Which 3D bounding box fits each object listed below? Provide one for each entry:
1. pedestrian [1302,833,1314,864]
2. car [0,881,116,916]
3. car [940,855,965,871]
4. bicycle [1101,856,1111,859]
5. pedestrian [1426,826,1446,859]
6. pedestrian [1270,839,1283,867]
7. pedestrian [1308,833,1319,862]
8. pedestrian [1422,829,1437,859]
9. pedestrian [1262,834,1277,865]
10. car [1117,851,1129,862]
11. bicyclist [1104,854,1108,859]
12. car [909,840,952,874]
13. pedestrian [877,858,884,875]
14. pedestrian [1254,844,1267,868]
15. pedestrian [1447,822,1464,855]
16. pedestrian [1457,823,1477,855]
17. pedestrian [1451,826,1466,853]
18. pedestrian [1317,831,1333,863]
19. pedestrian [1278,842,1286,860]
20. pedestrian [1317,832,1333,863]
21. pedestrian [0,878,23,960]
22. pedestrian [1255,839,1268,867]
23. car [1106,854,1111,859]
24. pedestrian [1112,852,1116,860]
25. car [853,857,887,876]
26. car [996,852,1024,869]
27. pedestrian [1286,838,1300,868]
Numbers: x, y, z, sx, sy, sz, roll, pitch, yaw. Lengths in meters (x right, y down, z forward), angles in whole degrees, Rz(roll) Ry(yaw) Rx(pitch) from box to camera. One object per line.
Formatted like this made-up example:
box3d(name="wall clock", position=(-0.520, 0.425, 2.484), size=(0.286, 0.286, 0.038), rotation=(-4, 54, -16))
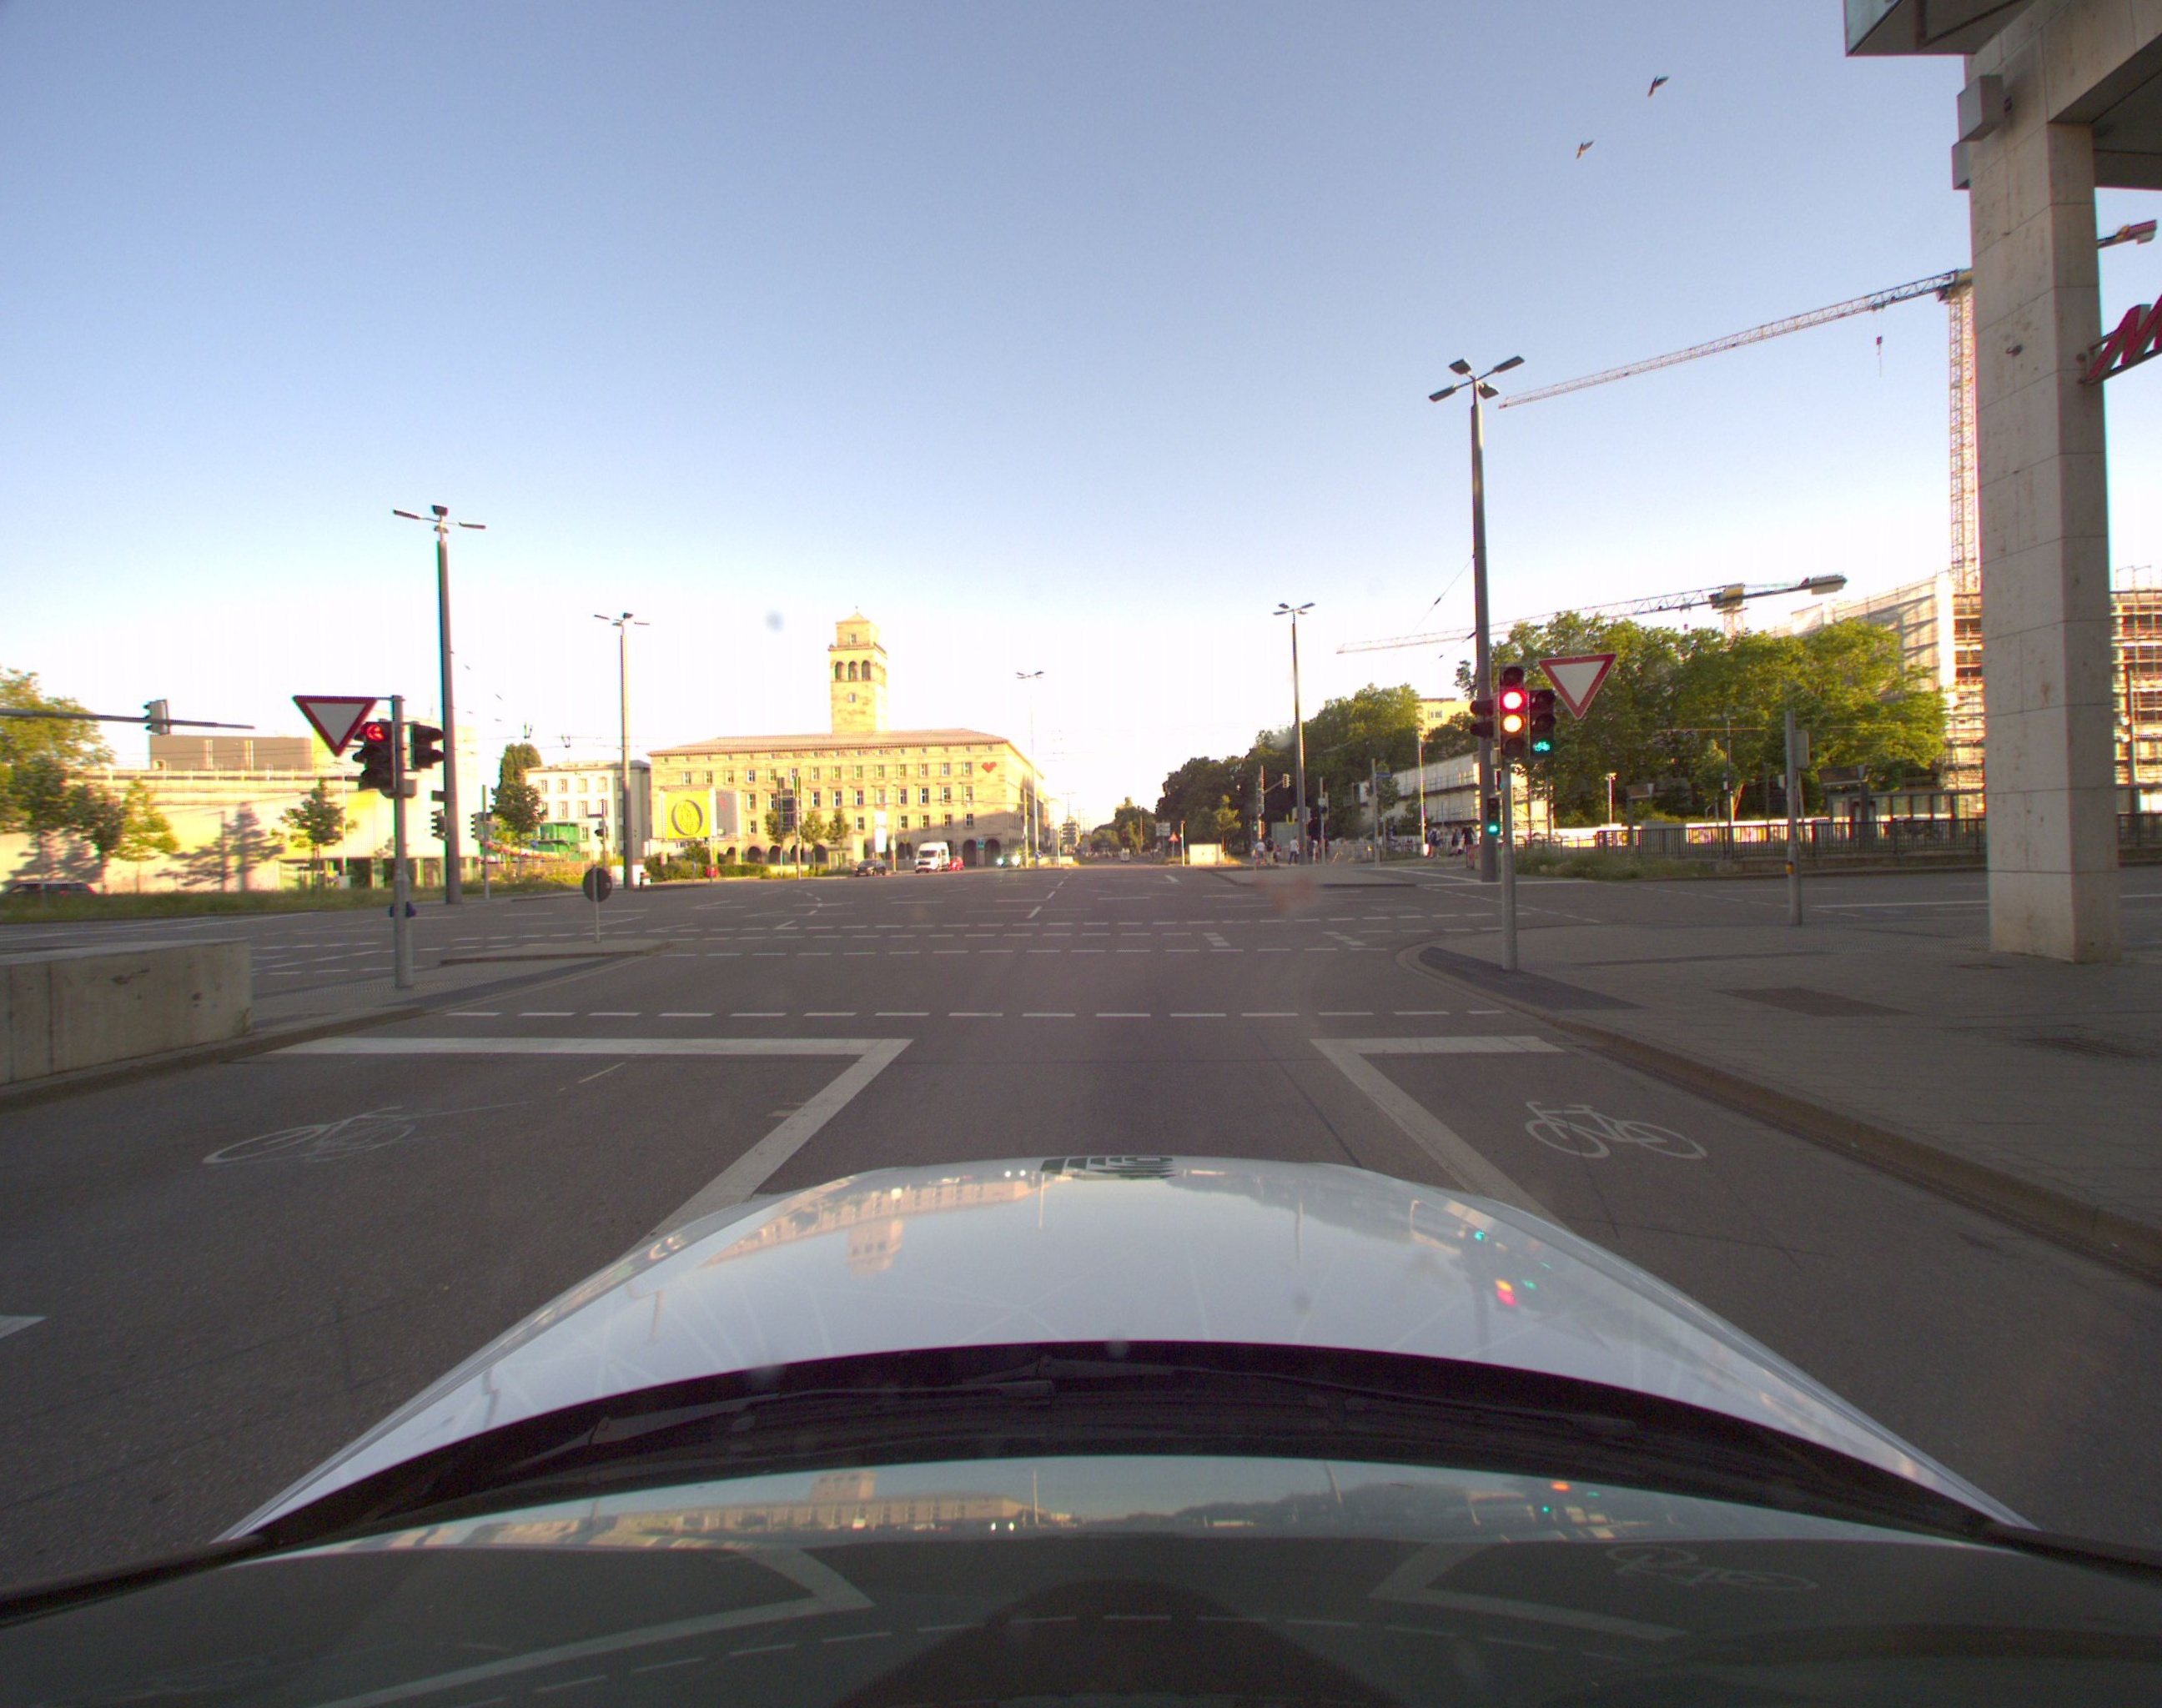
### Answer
box3d(name="pedestrian", position=(13.293, -0.300, 47.658), size=(0.567, 1.791, 0.642), rotation=(-2, 1, 22))
box3d(name="car", position=(-55.311, 2.384, 43.958), size=(4.111, 1.604, 1.743), rotation=(-2, 0, -3))
box3d(name="car", position=(-12.836, 0.865, 81.370), size=(1.732, 1.487, 4.002), rotation=(-2, 1, 2))
box3d(name="bicycle", position=(6.751, 0.998, 220.253), size=(2.614, 0.959, 0.510), rotation=(0, -1, -25))
box3d(name="pedestrian", position=(18.864, -0.616, 43.276), size=(0.671, 1.725, 0.706), rotation=(-2, 0, -33))
box3d(name="pedestrian", position=(12.401, -0.076, 51.570), size=(0.705, 1.725, 0.672), rotation=(-2, 1, 19))
box3d(name="pedestrian", position=(14.041, -0.392, 49.157), size=(0.568, 1.678, 0.641), rotation=(-2, 0, 16))
box3d(name="pedestrian", position=(18.943, -0.563, 44.305), size=(0.569, 1.592, 0.537), rotation=(-2, 0, 1))
box3d(name="pedestrian", position=(10.838, -0.262, 46.869), size=(0.705, 1.725, 0.919), rotation=(-2, 1, 17))
box3d(name="car", position=(6.405, 0.350, 123.620), size=(1.479, 1.696, 2.972), rotation=(-2, 0, -2))
box3d(name="bicyclist", position=(6.836, 0.619, 220.279), size=(0.834, 1.463, 0.655), rotation=(-2, 0, -24))
box3d(name="car", position=(-13.349, 0.234, 72.826), size=(2.269, 2.776, 6.090), rotation=(-2, 0, 4))
box3d(name="pedestrian", position=(-20.842, 1.270, 84.542), size=(0.620, 1.744, 0.459), rotation=(0, -1, -4))
box3d(name="pedestrian", position=(13.295, 0.125, 60.314), size=(0.673, 1.757, 0.907), rotation=(-2, 1, 22))
box3d(name="pedestrian", position=(19.769, -0.800, 43.020), size=(0.705, 1.725, 0.671), rotation=(-2, 0, 19))
box3d(name="pedestrian", position=(21.285, -0.837, 44.899), size=(0.708, 1.725, 0.668), rotation=(-2, 0, 0))
box3d(name="pedestrian", position=(20.208, -0.789, 43.646), size=(0.670, 1.441, 0.718), rotation=(-2, 0, 24))
box3d(name="pedestrian", position=(13.859, -0.416, 46.310), size=(0.799, 1.791, 0.804), rotation=(-2, 1, 15))
box3d(name="pedestrian", position=(21.349, -0.291, 86.373), size=(0.662, 1.842, 0.714), rotation=(-2, 1, 7))
box3d(name="pedestrian", position=(14.193, -0.392, 47.375), size=(0.838, 1.734, 0.708), rotation=(-2, 1, 14))
box3d(name="pedestrian", position=(-23.469, 1.408, 17.234), size=(0.819, 1.721, 0.958), rotation=(-2, 0, -2))
box3d(name="pedestrian", position=(11.486, -0.068, 51.814), size=(0.705, 1.725, 0.671), rotation=(-2, 1, 15))
box3d(name="car", position=(7.849, 0.637, 235.014), size=(1.365, 1.234, 3.046), rotation=(-2, 1, 1))
box3d(name="pedestrian", position=(7.802, 0.497, 194.729), size=(0.903, 1.671, 1.307), rotation=(-2, 1, 1))
box3d(name="car", position=(-18.309, 1.061, 70.789), size=(1.817, 1.466, 4.158), rotation=(-2, 1, 0))
box3d(name="car", position=(-6.271, 0.533, 72.447), size=(1.815, 1.341, 4.005), rotation=(-2, 1, 4))
box3d(name="pedestrian", position=(12.756, -0.068, 48.928), size=(0.705, 1.725, 0.919), rotation=(-2, 1, 17))
